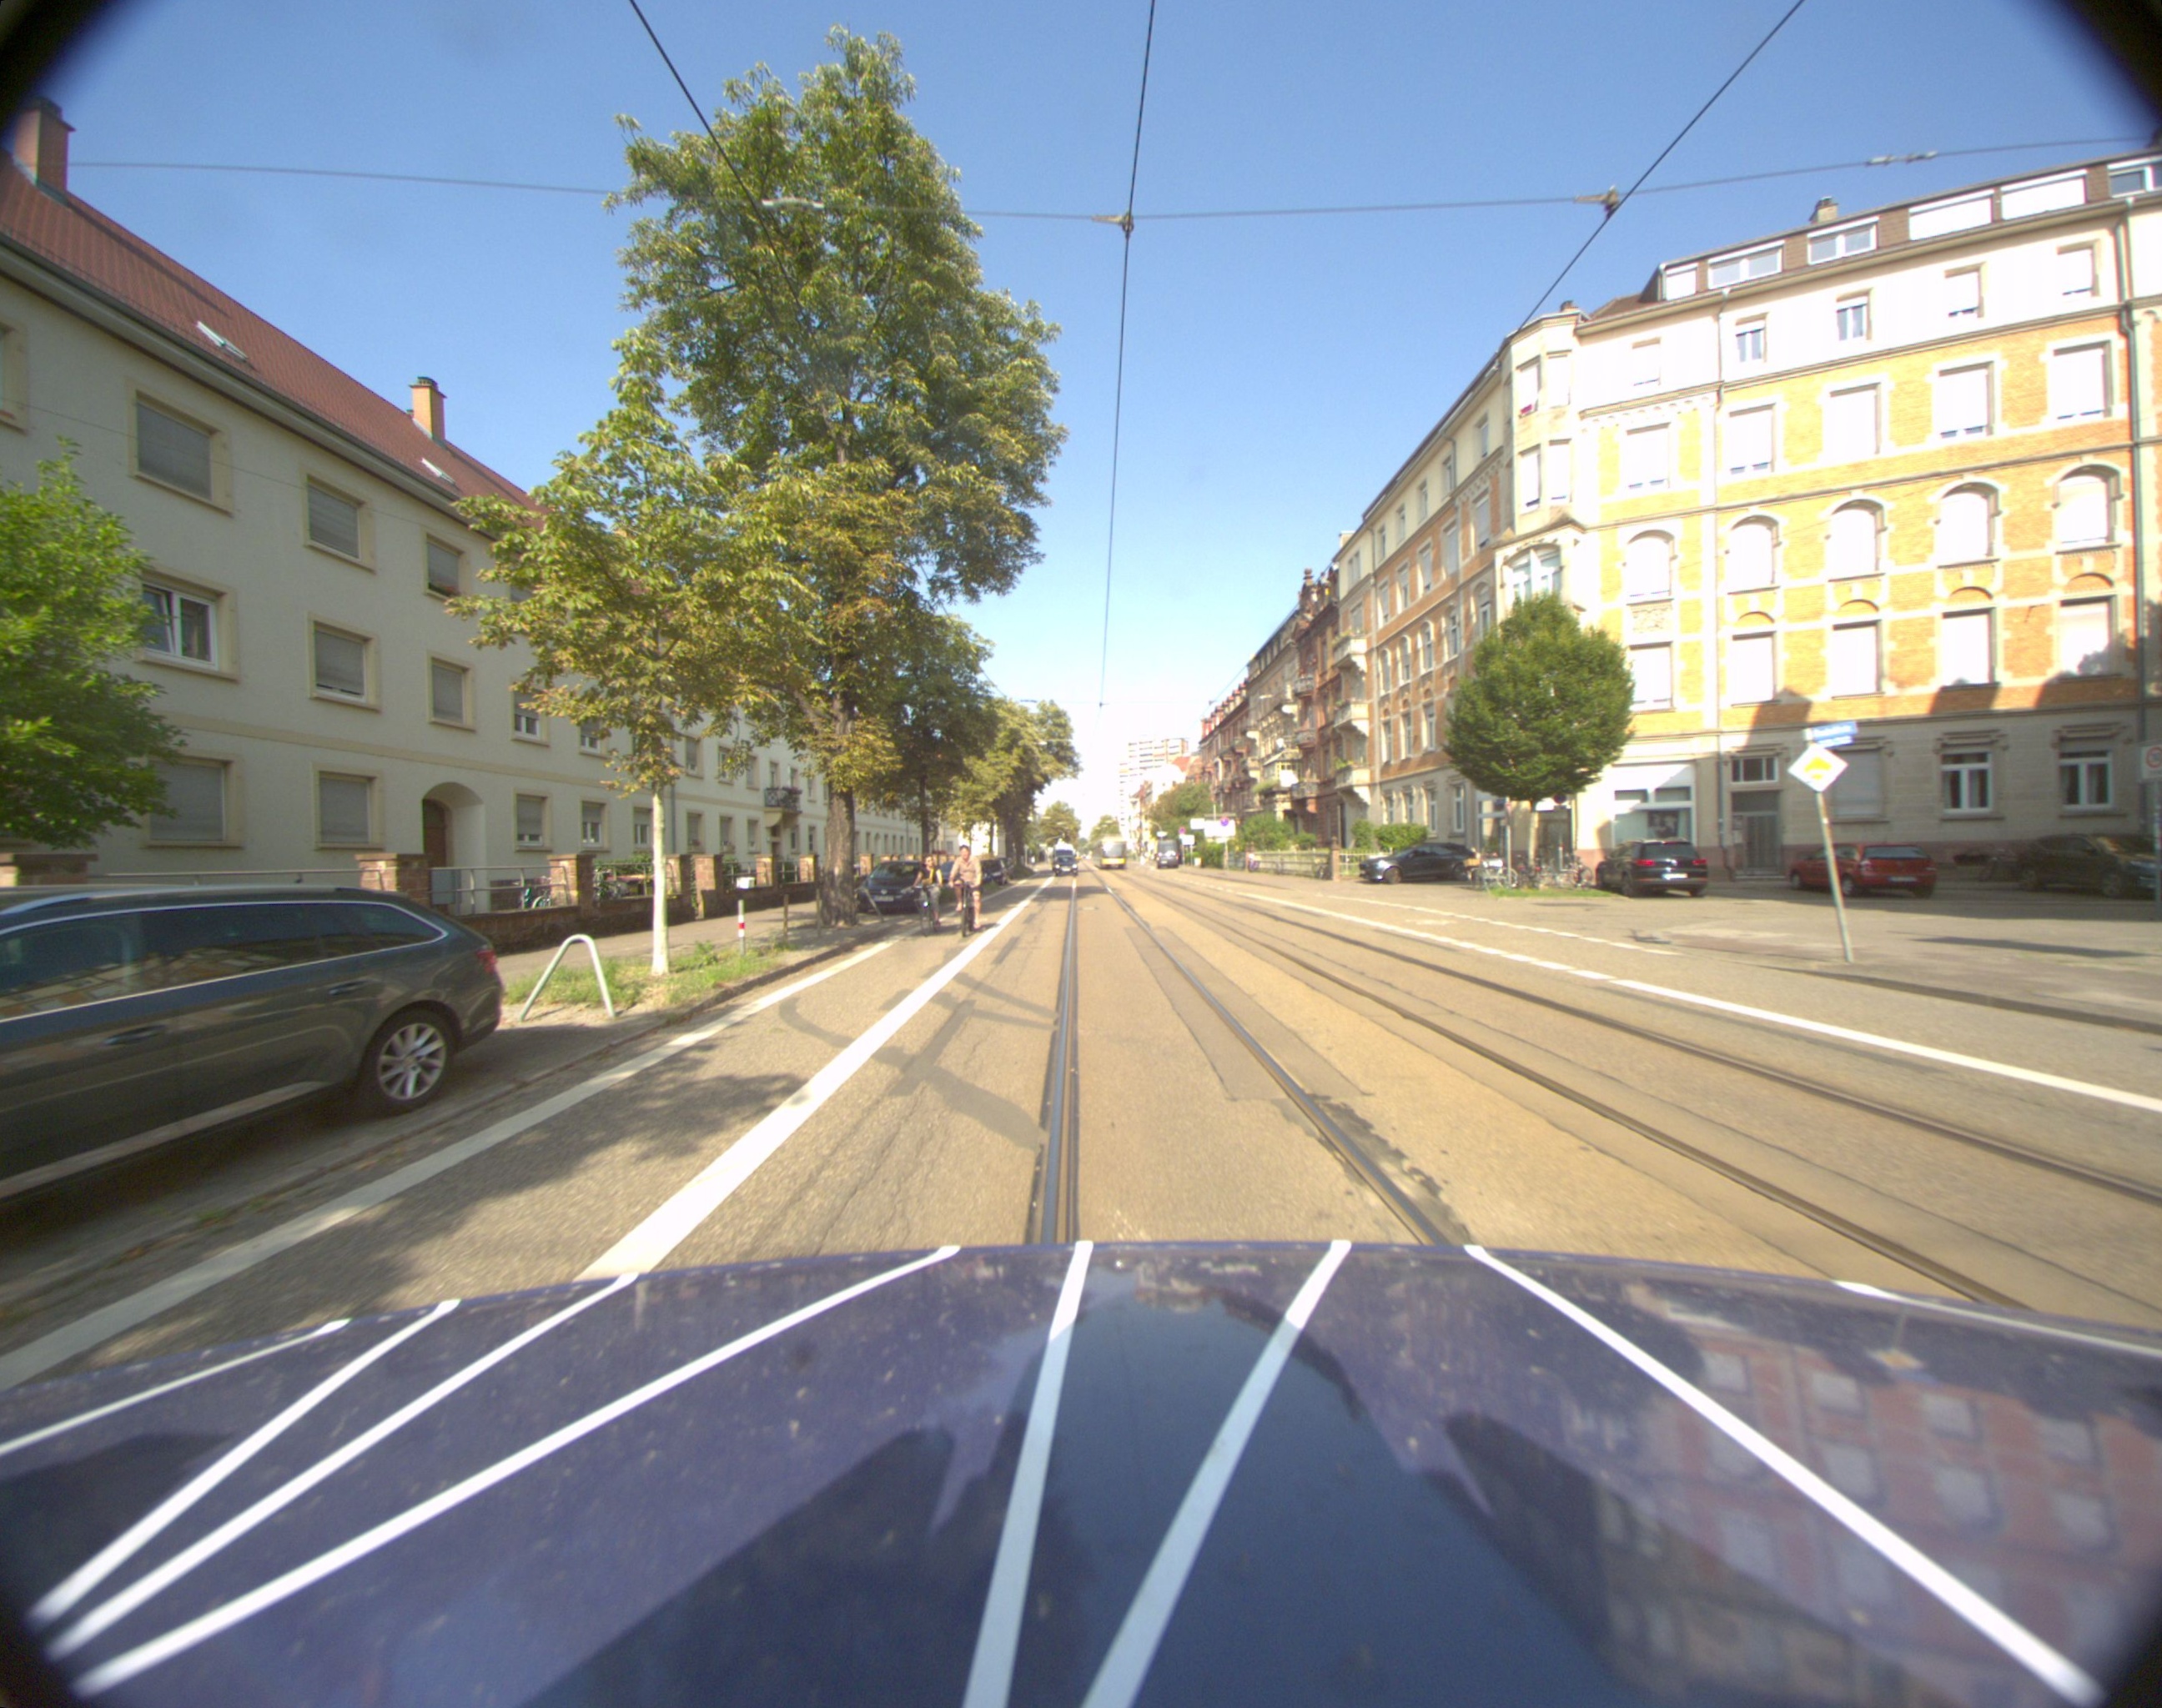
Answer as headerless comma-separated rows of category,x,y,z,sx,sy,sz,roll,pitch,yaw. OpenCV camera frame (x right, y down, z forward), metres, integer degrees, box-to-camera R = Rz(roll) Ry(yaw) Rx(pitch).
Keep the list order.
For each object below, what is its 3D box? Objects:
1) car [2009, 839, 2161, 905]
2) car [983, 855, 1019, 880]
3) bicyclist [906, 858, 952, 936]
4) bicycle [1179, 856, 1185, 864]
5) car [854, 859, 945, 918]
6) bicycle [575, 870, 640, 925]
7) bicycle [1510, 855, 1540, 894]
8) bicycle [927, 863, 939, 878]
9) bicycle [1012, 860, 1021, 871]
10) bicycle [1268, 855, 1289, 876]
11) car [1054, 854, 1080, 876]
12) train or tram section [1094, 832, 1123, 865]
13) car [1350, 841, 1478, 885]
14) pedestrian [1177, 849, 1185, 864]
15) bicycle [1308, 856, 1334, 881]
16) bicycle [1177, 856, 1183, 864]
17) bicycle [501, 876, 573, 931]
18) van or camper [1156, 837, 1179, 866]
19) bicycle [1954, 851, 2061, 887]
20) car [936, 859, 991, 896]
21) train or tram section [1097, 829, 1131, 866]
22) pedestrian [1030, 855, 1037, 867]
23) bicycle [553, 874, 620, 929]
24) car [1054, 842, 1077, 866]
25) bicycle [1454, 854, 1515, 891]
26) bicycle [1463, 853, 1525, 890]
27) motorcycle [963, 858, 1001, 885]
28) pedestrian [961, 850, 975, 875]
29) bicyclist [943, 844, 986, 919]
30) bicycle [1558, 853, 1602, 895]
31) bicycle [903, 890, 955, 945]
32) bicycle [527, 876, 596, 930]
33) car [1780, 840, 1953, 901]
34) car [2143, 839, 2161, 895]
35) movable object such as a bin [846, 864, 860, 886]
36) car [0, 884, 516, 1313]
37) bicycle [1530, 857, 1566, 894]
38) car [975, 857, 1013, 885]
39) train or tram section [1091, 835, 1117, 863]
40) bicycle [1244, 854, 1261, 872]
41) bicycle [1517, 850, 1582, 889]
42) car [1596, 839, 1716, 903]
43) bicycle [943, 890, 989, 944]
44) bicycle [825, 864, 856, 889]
car,25.918,0.384,18.958,1.764,1.446,3.950,-1,1,20
car,-5.366,0.882,51.399,1.649,1.531,3.843,0,0,5
bicyclist,-3.029,0.844,15.182,0.656,1.465,0.908,-3,1,-1
bicycle,11.688,0.677,88.183,0.527,0.922,1.703,-2,0,3
car,-5.157,0.920,22.050,1.694,1.493,4.095,1,0,-1
bicycle,-9.941,0.888,16.012,0.417,1.054,1.488,-1,0,0
bicycle,13.853,0.617,23.748,0.482,1.153,1.775,-1,1,19
bicycle,-10.708,1.182,55.022,0.525,1.067,1.728,-2,0,1
bicycle,-6.410,1.131,75.133,0.774,1.097,2.333,-2,0,-3
bicycle,10.528,0.587,40.540,0.546,1.052,1.839,-6,0,1
car,-1.030,0.790,56.730,1.775,1.459,4.000,-3,0,1
train or tram section,3.151,-0.620,89.619,2.741,3.485,10.774,-2,0,-1
car,13.125,0.335,30.127,4.148,1.534,2.064,-2,1,-1
pedestrian,11.509,0.265,87.629,0.639,1.668,0.633,-2,0,-12
bicycle,10.574,0.628,33.515,0.546,1.052,1.839,-6,0,1
bicycle,11.712,0.703,89.877,0.527,0.855,1.703,-2,0,3
bicycle,-11.505,1.021,16.114,0.417,1.054,1.488,-1,0,0
van or camper,8.465,-0.255,74.190,2.054,2.629,6.092,-1,1,7
bicycle,27.798,0.450,22.828,2.007,1.061,0.594,-1,1,21
car,-4.978,0.968,32.696,1.694,1.426,4.336,1,0,-1
train or tram section,3.295,-0.631,78.794,2.741,3.485,10.774,-2,0,-1
pedestrian,-7.251,1.039,116.084,1.079,1.714,0.969,1,0,-1
bicycle,-10.394,0.980,16.028,0.417,1.054,1.488,-1,0,0
car,-1.478,0.016,75.161,2.087,2.264,4.827,-2,0,0
bicycle,13.595,0.620,25.606,1.853,1.190,0.542,-1,1,-11
bicycle,13.674,0.569,25.164,1.863,1.174,0.542,-1,1,-11
motorcycle,-5.140,0.931,39.401,1.859,1.281,0.705,2,-5,-3
pedestrian,-8.289,0.619,55.966,0.754,1.739,0.878,-2,0,6
bicyclist,-2.261,0.513,14.889,0.628,1.393,0.929,-3,1,-1
bicycle,15.326,0.584,23.365,0.542,1.222,1.775,-1,1,13
bicycle,-2.997,1.236,15.172,0.656,0.903,1.774,-3,0,-1
bicycle,-11.042,1.015,16.188,0.417,1.054,1.488,-1,0,0
car,21.573,0.412,21.088,1.764,1.517,3.773,-1,0,18
car,28.579,0.340,18.201,1.764,1.446,3.773,-1,0,18
movable object such as a bin,-11.764,1.084,39.249,0.508,1.063,0.660,-1,1,1
car,-5.098,1.027,3.275,1.748,1.551,4.718,-1,0,0
bicycle,14.461,0.644,23.553,0.542,1.083,1.839,-1,1,18
car,-4.912,0.934,43.260,1.649,1.440,4.245,0,0,0
train or tram section,2.961,-0.651,102.770,2.741,3.485,15.431,-2,0,-1
bicycle,10.482,0.536,46.473,0.608,1.052,1.839,-6,0,1
bicycle,15.575,0.522,25.300,1.770,1.250,0.544,-1,1,14
car,16.604,0.432,22.167,1.764,1.650,3.773,-3,0,21
bicycle,-2.235,1.208,14.908,0.628,0.903,1.525,-3,0,-1
bicycle,-11.309,1.050,35.810,0.774,1.097,2.333,-2,0,-3
